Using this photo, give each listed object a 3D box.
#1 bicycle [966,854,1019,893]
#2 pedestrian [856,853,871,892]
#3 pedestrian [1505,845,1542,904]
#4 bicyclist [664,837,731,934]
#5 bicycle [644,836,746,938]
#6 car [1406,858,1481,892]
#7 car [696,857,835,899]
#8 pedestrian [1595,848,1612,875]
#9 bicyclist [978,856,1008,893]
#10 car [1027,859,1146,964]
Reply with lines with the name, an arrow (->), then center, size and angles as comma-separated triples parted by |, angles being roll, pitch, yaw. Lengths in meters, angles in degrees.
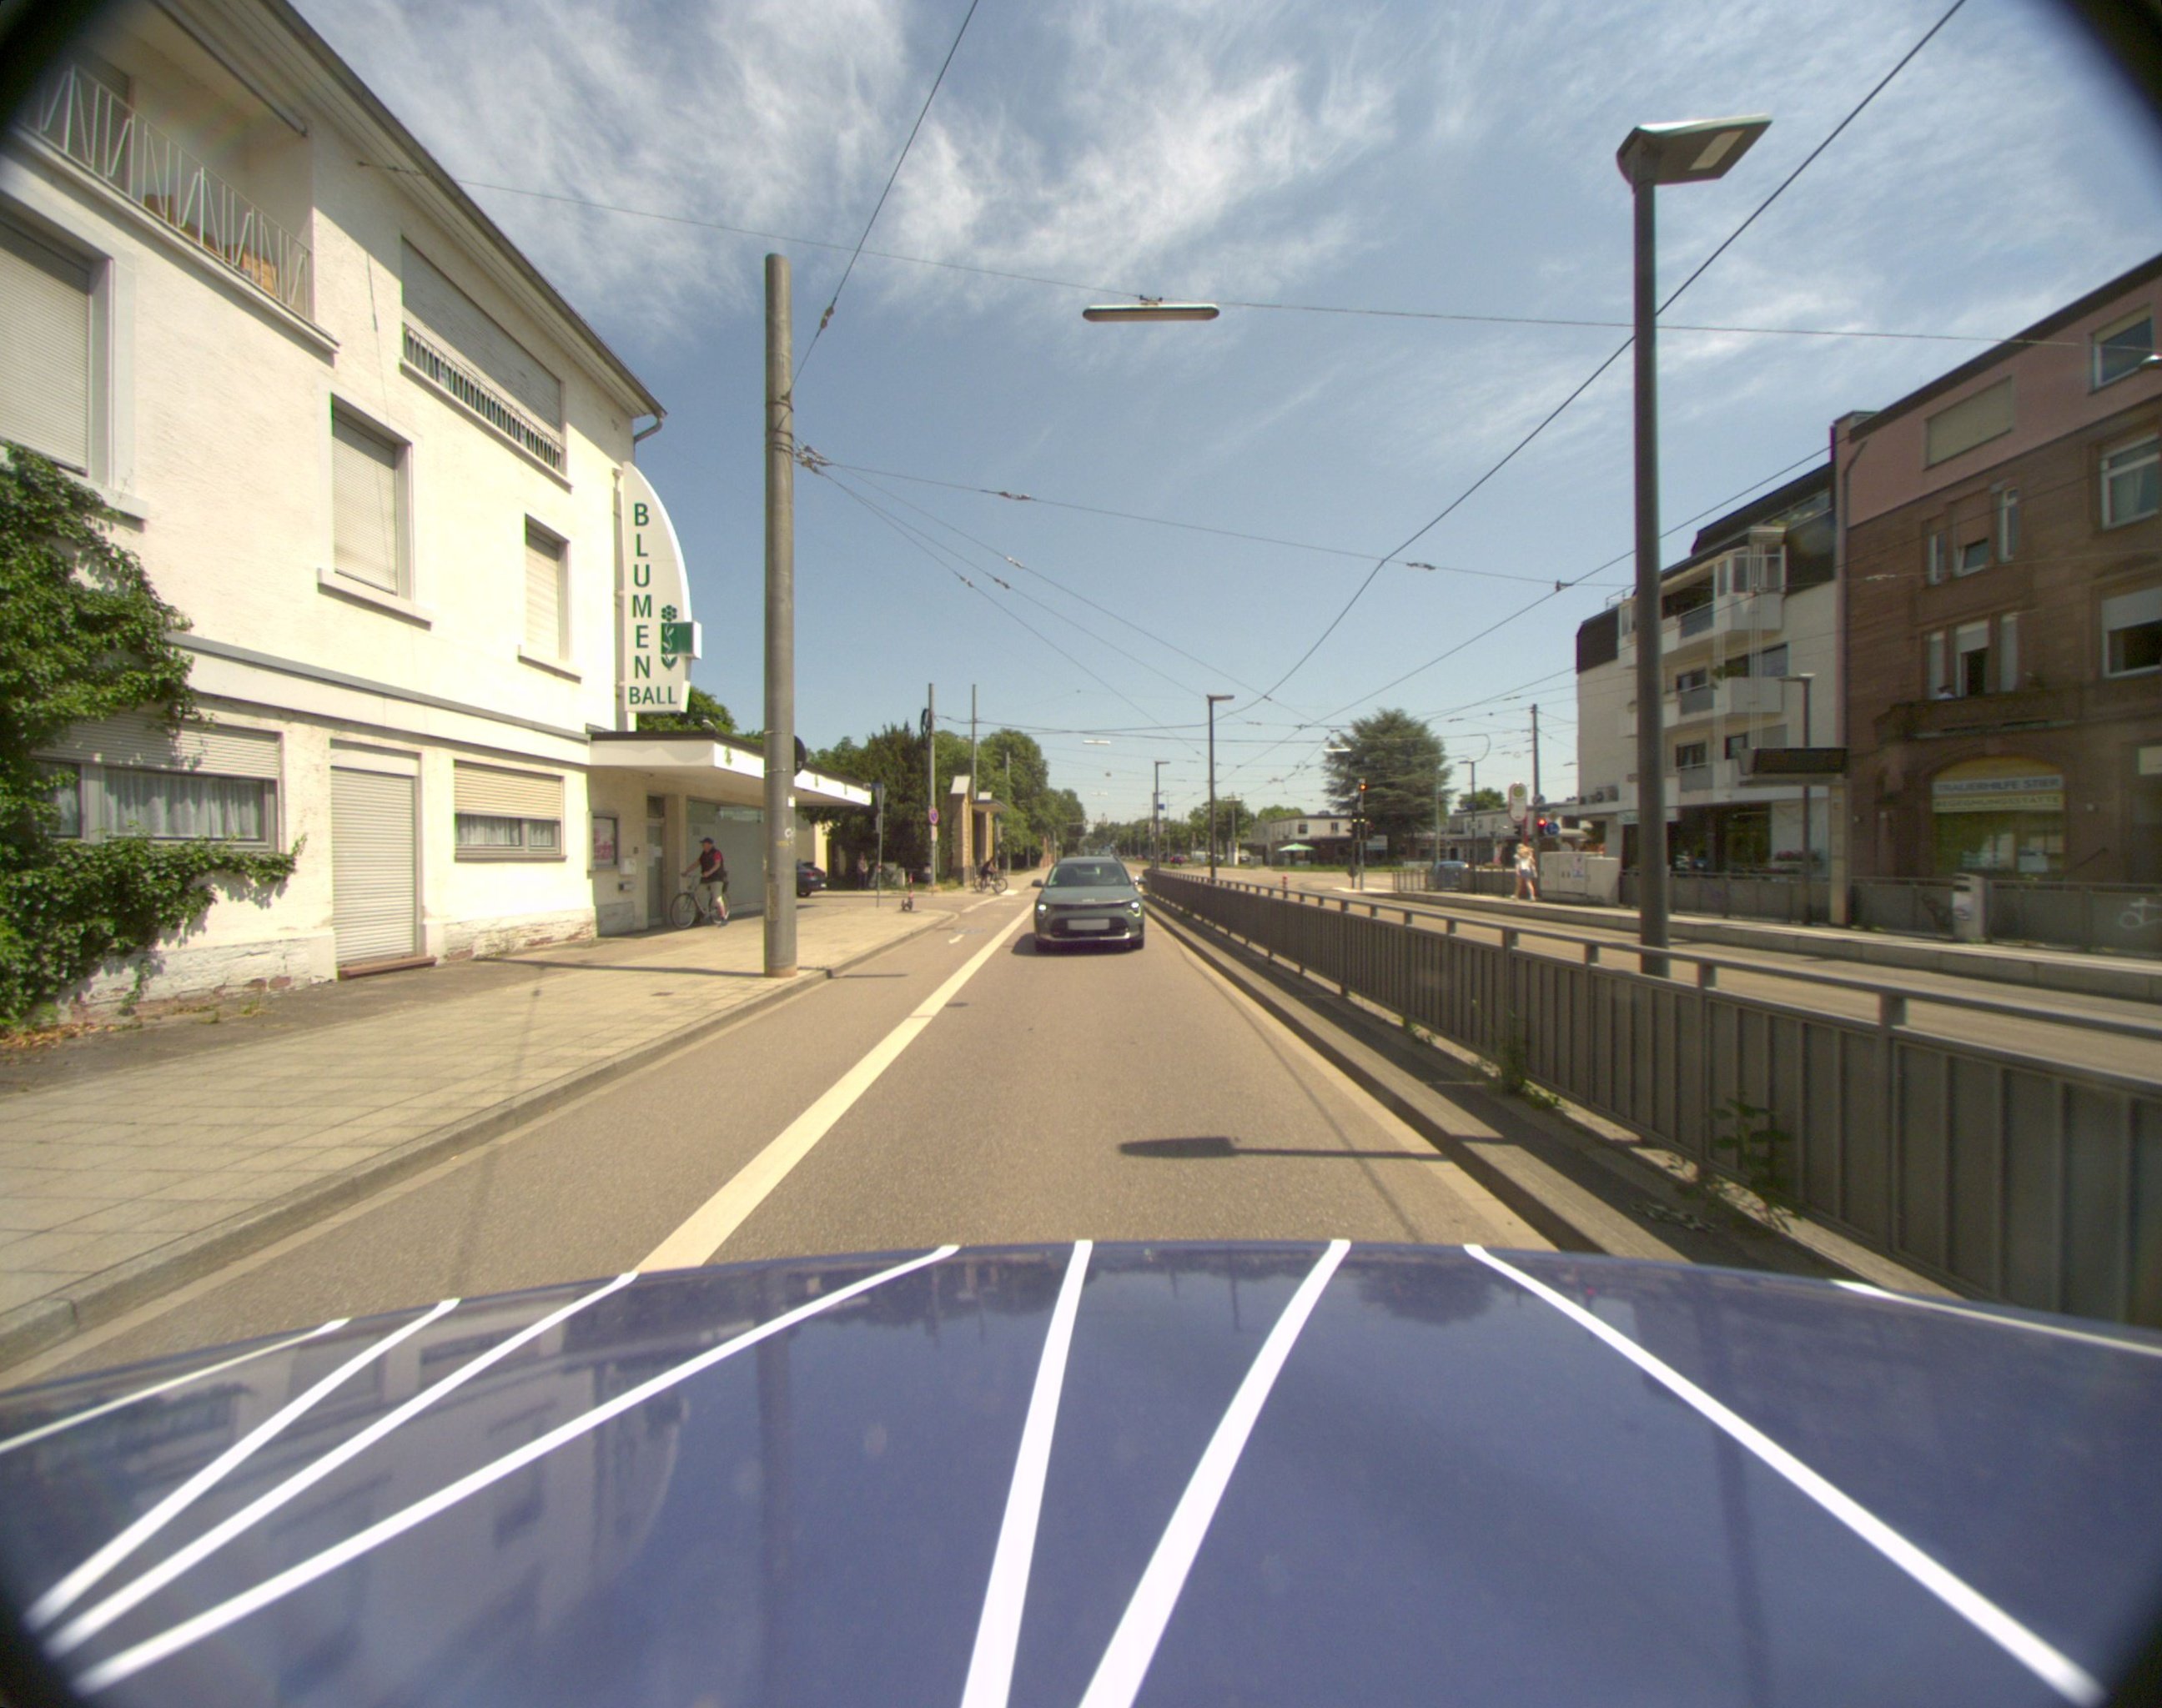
bicycle -> -3.930, 0.880, 33.886 | 2.054, 1.580, 0.888 | 4, 0, -32
pedestrian -> -8.897, 0.761, 31.124 | 0.536, 1.589, 0.425 | -2, 1, -13
pedestrian -> 12.403, 0.565, 21.306 | 0.597, 1.615, 0.676 | 1, 1, 0
bicyclist -> -7.683, 0.613, 15.257 | 0.790, 1.863, 0.888 | 2, 0, 7
bicycle -> -7.678, 0.624, 15.230 | 0.800, 1.889, 1.959 | 2, 0, 7
car -> 17.321, 0.950, 36.488 | 1.696, 1.477, 4.000 | -2, 0, 1
car -> -11.622, 0.876, 28.196 | 4.462, 1.449, 1.595 | 1, -1, 0
pedestrian -> 33.121, 0.463, 48.174 | 0.577, 1.705, 0.646 | 1, 1, 0
bicyclist -> -3.921, 0.903, 33.890 | 0.988, 1.568, 0.866 | 4, 0, -31
car -> 0.083, 0.899, 14.006 | 1.827, 1.546, 4.486 | -1, 0, 0
